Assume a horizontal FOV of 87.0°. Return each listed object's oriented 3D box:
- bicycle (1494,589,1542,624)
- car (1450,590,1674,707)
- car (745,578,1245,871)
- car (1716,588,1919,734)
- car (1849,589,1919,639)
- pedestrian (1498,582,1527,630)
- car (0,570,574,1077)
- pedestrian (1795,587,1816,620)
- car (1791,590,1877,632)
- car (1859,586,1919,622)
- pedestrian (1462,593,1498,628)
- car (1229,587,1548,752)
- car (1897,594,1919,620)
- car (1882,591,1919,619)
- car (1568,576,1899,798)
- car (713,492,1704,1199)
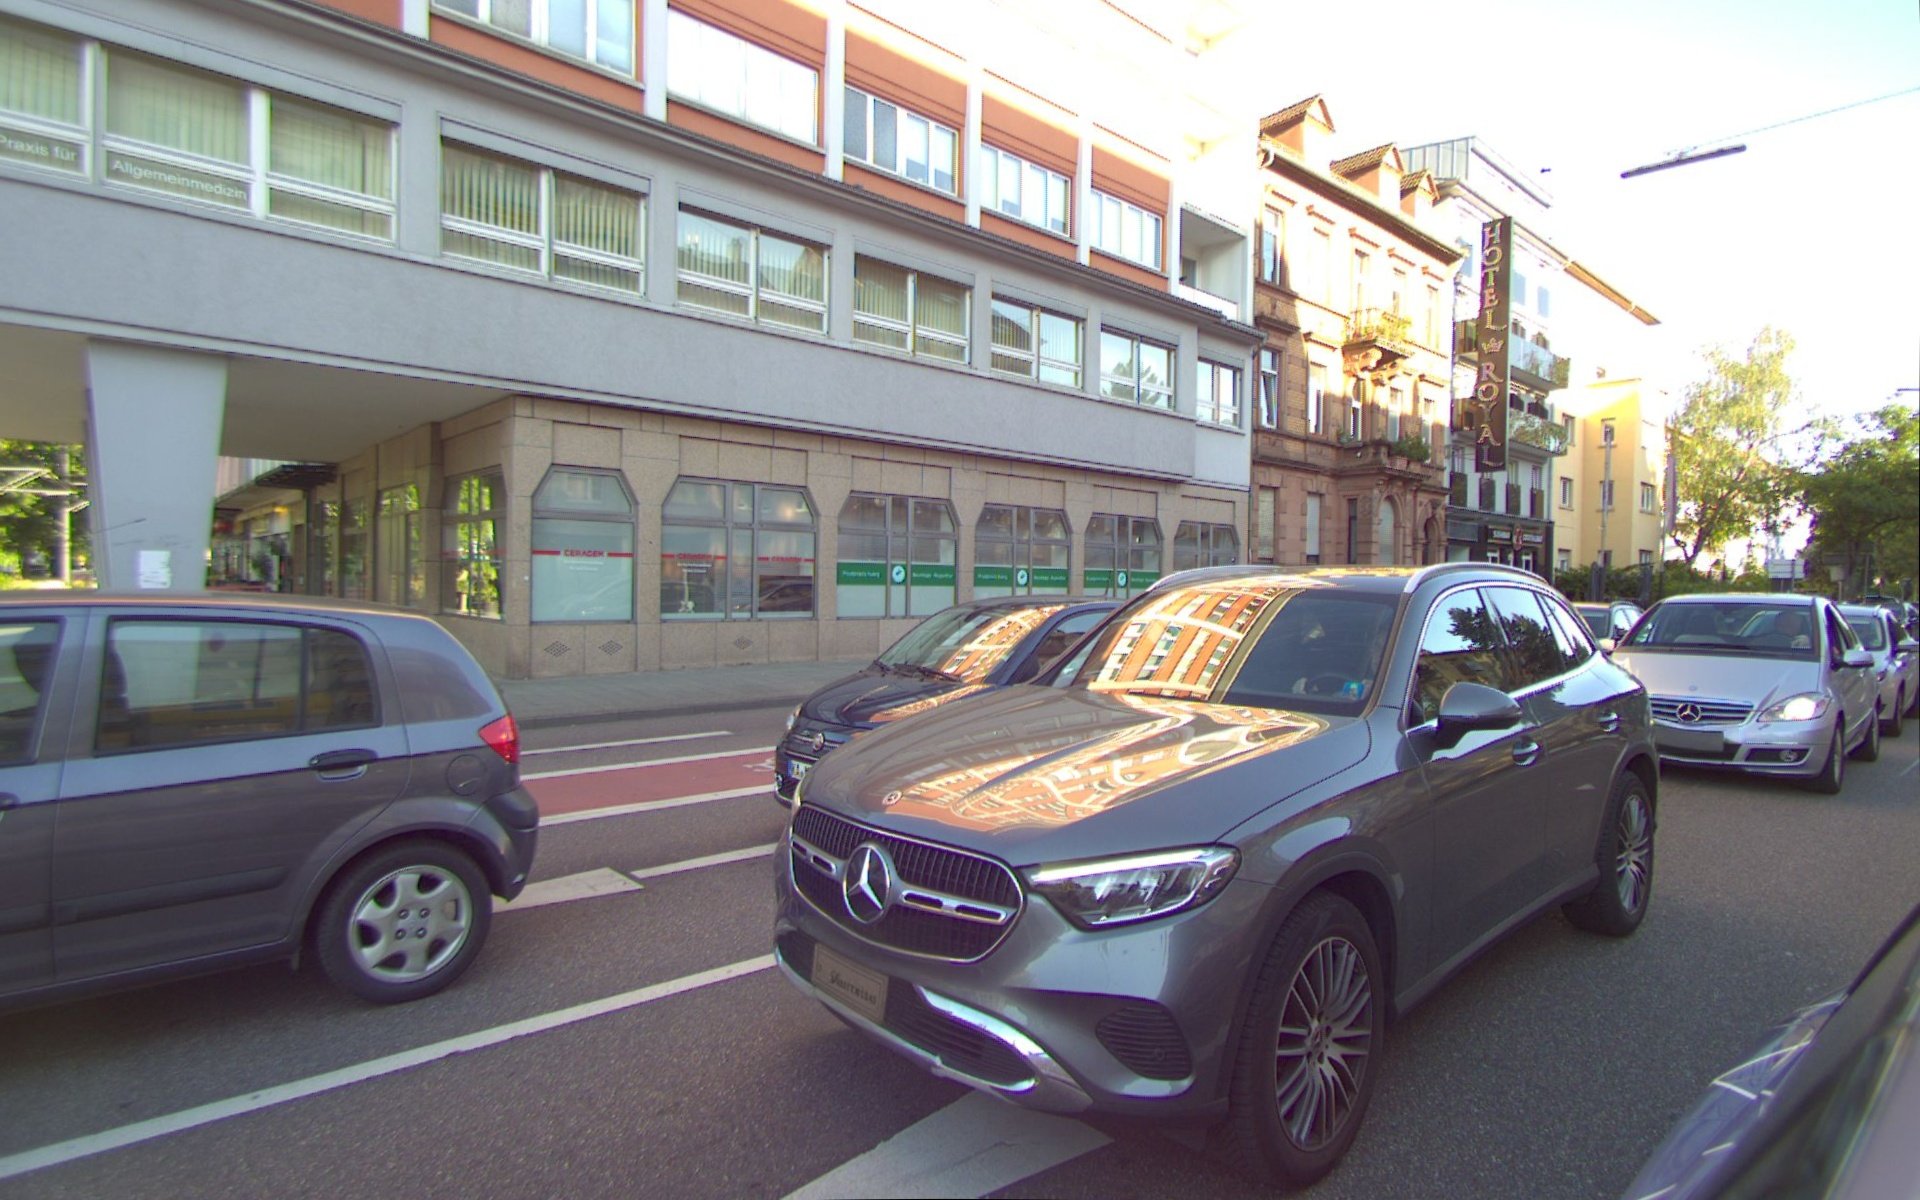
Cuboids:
[{"bbox_3d":[19.870,0.218,36.036,1.415,1.124,0.483,5,3,32],"label":"bicycle"},{"bbox_3d":[9.010,0.616,15.020,4.087,1.475,1.710,0,1,-42],"label":"car"},{"bbox_3d":[0.392,0.638,7.047,3.420,1.524,1.491,0,1,-43],"label":"car"},{"bbox_3d":[11.067,0.633,12.729,4.234,1.529,1.710,0,0,-42],"label":"car"},{"bbox_3d":[31.429,0.438,34.000,3.933,1.553,1.996,0,1,-43],"label":"car"},{"bbox_3d":[19.633,0.201,35.974,0.681,1.664,0.708,1,1,-42],"label":"pedestrian"},{"bbox_3d":[-3.393,0.644,3.435,3.585,1.465,1.587,0,0,-42],"label":"car"},{"bbox_3d":[43.250,0.185,51.782,0.570,1.636,0.747,0,1,-43],"label":"pedestrian"},{"bbox_3d":[35.152,0.407,40.673,4.749,1.531,1.860,0,3,-40],"label":"car"},{"bbox_3d":[46.991,0.184,51.062,4.715,1.675,1.950,0,2,-43],"label":"car"},{"bbox_3d":[16.549,0.330,32.206,0.927,1.056,0.692,0,1,-39],"label":"pedestrian"},{"bbox_3d":[4.864,0.621,11.212,4.166,1.503,1.653,0,0,-42],"label":"car"},{"bbox_3d":[58.355,0.433,61.392,4.407,1.466,1.773,0,2,-42],"label":"car"},{"bbox_3d":[53.303,0.274,57.013,4.358,1.490,1.718,0,2,-44],"label":"car"},{"bbox_3d":[7.148,0.615,9.234,3.557,1.588,1.806,0,1,-43],"label":"car"},{"bbox_3d":[1.416,0.589,4.133,4.402,1.653,1.786,0,1,-43],"label":"car"}]
